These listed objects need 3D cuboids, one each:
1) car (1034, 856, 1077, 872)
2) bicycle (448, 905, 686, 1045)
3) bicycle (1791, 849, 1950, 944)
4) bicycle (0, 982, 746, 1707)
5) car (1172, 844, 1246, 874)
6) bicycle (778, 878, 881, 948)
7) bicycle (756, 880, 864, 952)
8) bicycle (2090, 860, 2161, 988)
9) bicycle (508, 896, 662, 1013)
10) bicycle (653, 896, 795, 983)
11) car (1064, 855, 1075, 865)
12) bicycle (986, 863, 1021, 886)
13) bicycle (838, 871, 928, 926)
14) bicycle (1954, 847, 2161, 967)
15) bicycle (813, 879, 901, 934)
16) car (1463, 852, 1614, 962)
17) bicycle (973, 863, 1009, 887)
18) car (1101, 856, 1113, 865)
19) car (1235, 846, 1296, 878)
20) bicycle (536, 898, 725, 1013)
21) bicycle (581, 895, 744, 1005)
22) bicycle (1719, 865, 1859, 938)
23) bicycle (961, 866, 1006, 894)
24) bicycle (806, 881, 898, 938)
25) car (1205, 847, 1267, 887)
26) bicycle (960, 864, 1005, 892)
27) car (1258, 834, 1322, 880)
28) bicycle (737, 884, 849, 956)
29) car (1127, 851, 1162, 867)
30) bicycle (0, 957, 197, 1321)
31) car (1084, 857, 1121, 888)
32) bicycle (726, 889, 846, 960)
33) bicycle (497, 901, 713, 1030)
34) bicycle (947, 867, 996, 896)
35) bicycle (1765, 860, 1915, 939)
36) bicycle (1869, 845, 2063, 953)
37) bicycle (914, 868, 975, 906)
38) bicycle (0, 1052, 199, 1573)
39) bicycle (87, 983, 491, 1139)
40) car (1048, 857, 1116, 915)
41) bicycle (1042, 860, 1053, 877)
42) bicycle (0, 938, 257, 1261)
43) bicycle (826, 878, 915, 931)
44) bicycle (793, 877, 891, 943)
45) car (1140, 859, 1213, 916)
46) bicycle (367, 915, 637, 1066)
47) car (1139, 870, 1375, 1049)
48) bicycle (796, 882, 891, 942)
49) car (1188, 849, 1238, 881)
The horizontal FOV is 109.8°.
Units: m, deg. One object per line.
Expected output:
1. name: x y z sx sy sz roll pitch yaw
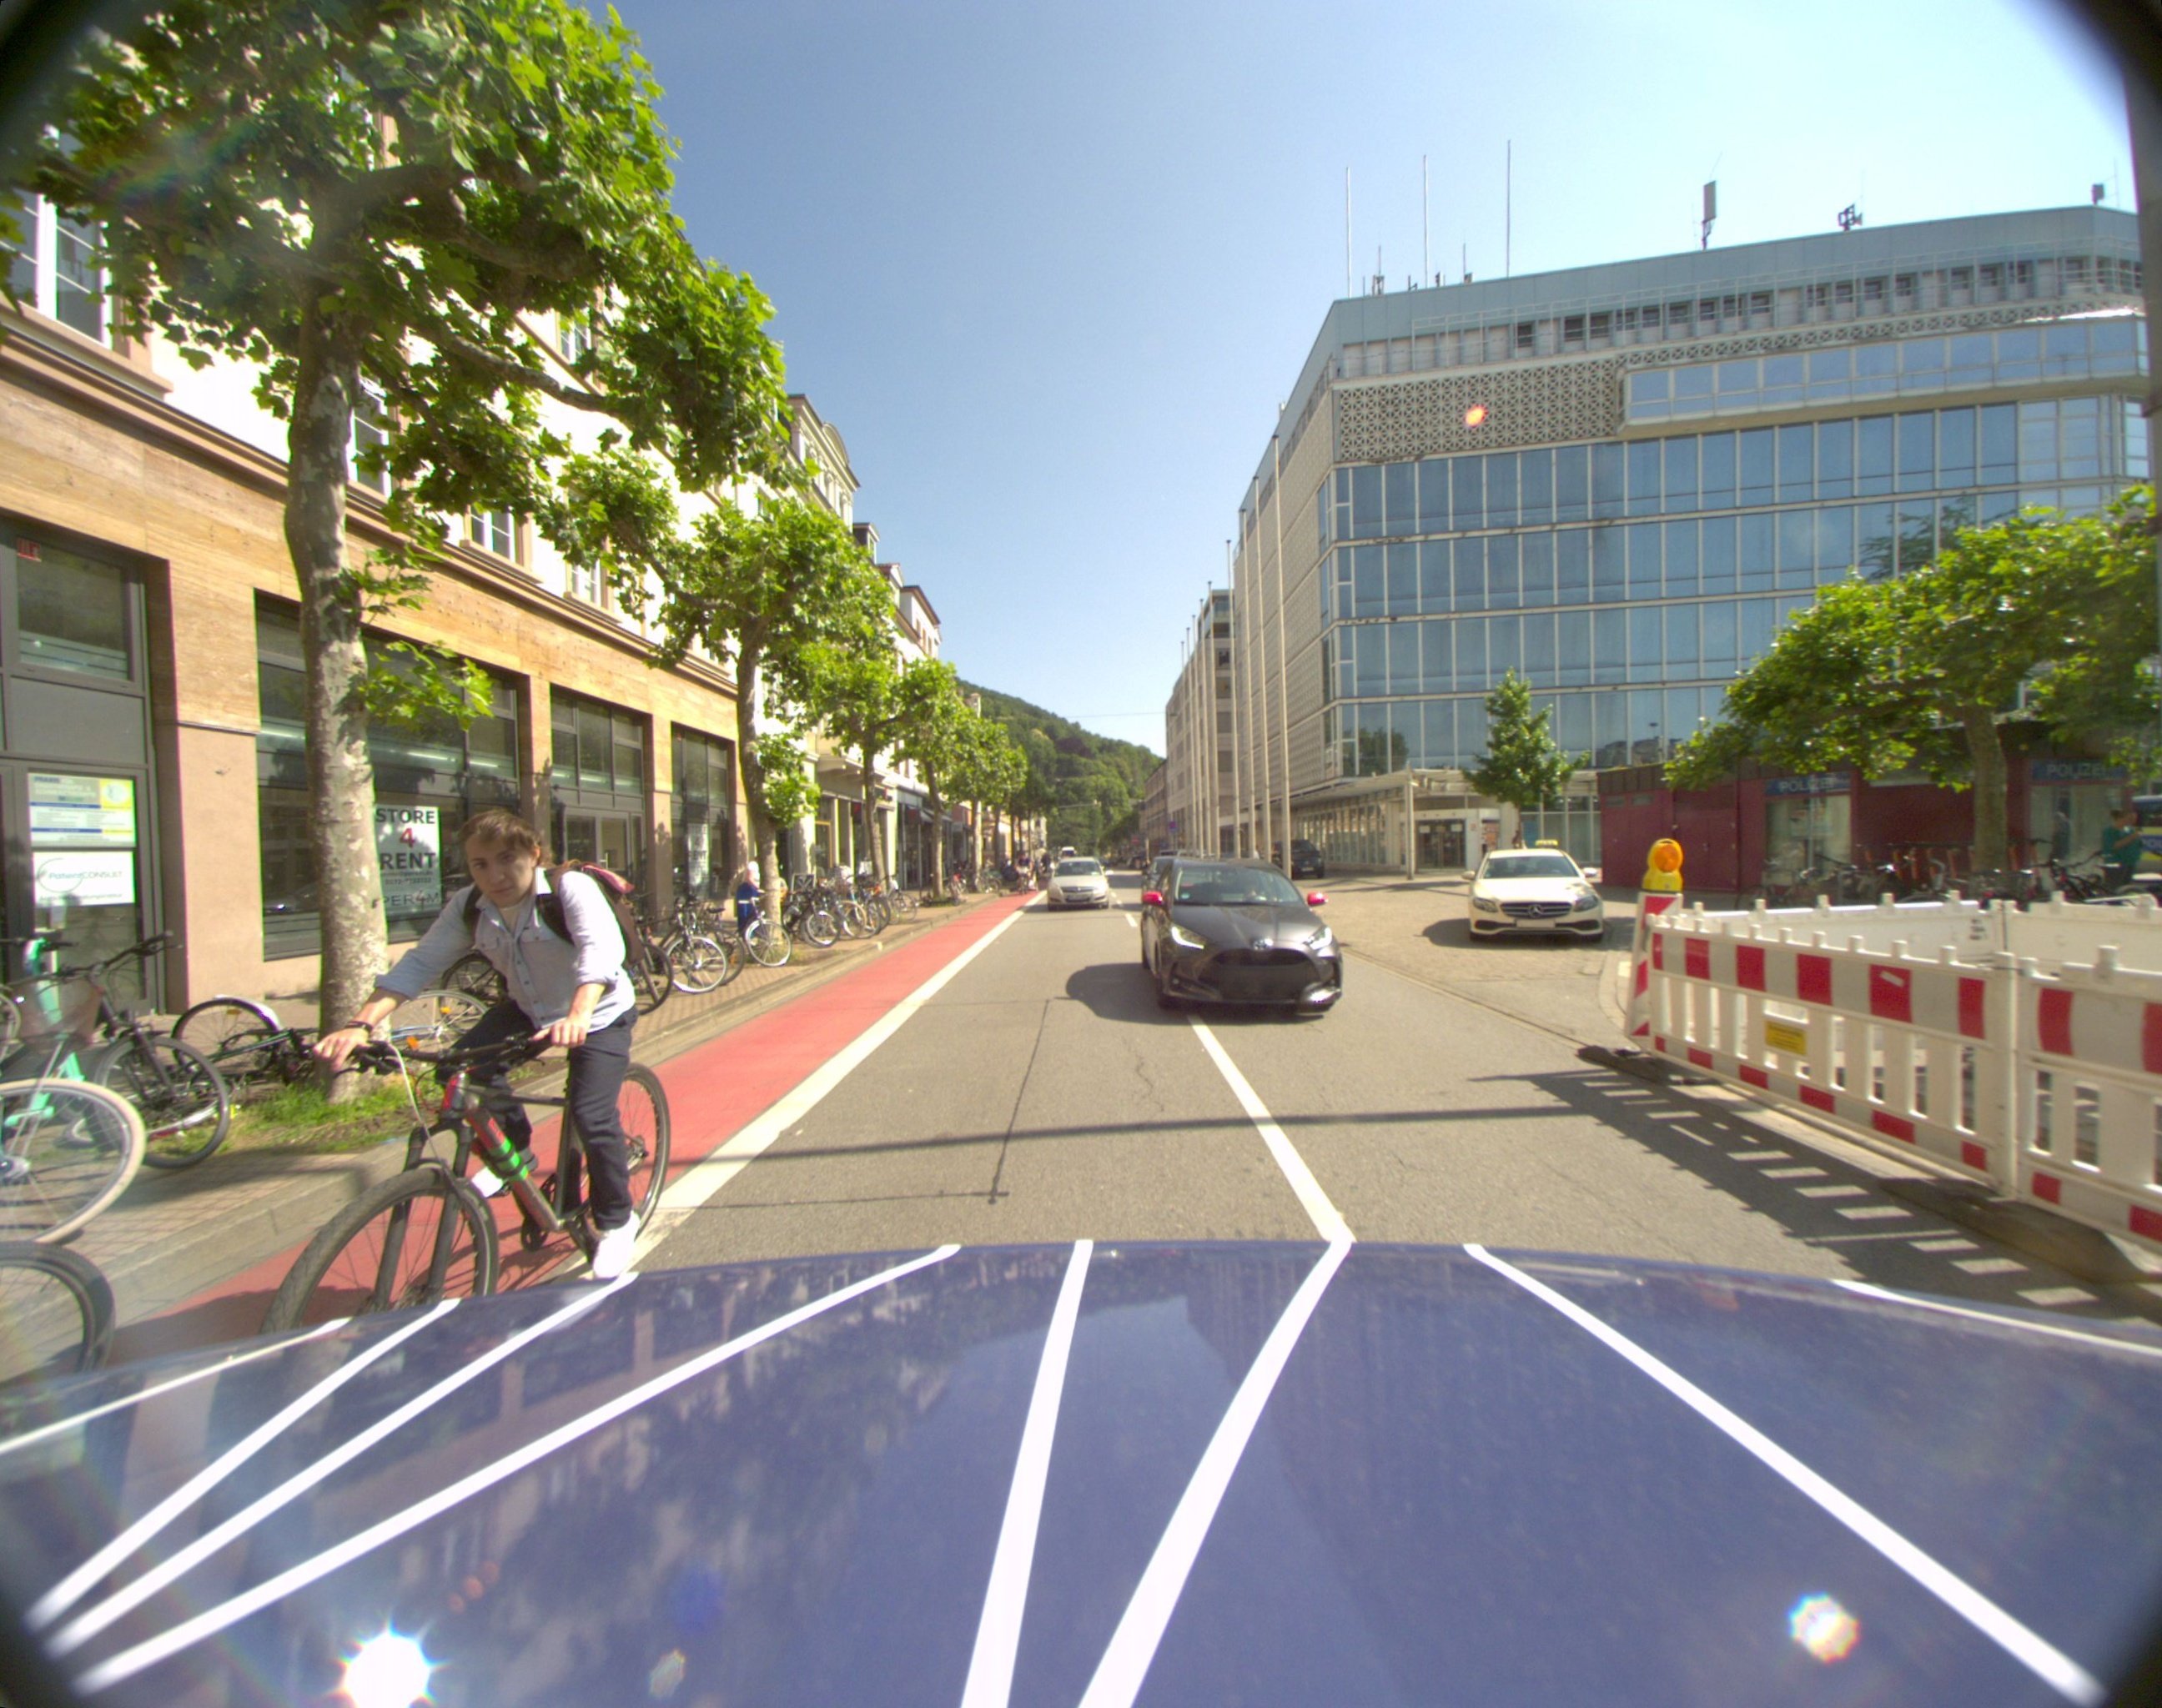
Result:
1. car: -2.779 1.092 82.589 1.953 1.416 4.895 -3 0 37
2. bicycle: -4.881 1.134 7.270 1.848 1.194 0.608 -2 1 3
3. bicycle: 11.612 0.603 11.197 1.786 1.301 0.562 -2 1 -2
4. bicycle: -1.874 1.168 2.438 0.700 1.120 2.081 -3 0 -3
5. car: 8.664 0.368 51.634 4.434 1.898 2.014 -2 0 37
6. bicycle: -4.692 1.098 14.215 1.732 1.210 0.477 -2 1 3
7. bicycle: -4.885 1.110 13.727 1.732 1.210 0.477 -2 1 3
8. bicycle: 11.391 0.667 7.591 1.786 1.208 0.663 -2 1 -2
9. bicycle: -5.934 1.162 9.206 0.473 1.181 1.656 -2 0 13
10. bicycle: -4.917 1.173 10.519 1.653 1.088 0.607 -2 1 3
11. car: -2.041 1.061 131.855 1.799 1.515 4.262 -5 1 -2
12. bicycle: -4.346 1.133 42.421 1.845 1.120 0.497 -4 -1 -7
13. bicycle: -4.804 1.070 18.470 1.936 1.241 0.736 -2 1 3
14. bicycle: 11.566 0.599 8.976 1.786 1.301 0.663 -2 1 -2
15. bicycle: -4.748 1.112 16.136 1.732 1.102 0.402 -2 1 3
16. car: 7.948 0.785 13.503 1.892 1.532 4.870 -2 0 28
17. bicycle: -4.846 1.137 40.762 1.783 1.190 0.576 -2 1 -27
18. car: 4.130 1.034 121.889 1.734 1.389 4.106 -2 0 1
19. car: 10.166 0.408 42.265 1.999 1.601 4.398 -3 0 -4
20. bicycle: -5.066 1.131 8.584 1.848 1.194 0.474 -2 1 3
21. bicycle: -4.932 1.124 8.996 1.653 1.194 0.474 -2 1 3
22. bicycle: 11.591 0.760 12.459 1.786 1.099 0.562 -2 1 -2
23. bicycle: -4.284 1.122 33.328 1.843 1.120 0.498 -3 1 12
24. bicycle: -4.728 1.142 15.721 1.732 1.102 0.402 -2 1 3
25. car: 6.924 0.549 34.355 1.765 1.590 4.709 -2 0 0
26. bicycle: -4.438 1.082 34.395 1.843 1.190 0.674 -2 1 8
27. car: 9.967 0.148 36.641 1.836 2.002 4.685 -2 0 1
28. bicycle: -5.000 1.143 13.243 1.732 1.155 0.477 -2 1 3
29. car: 8.087 0.642 96.503 4.165 1.627 2.103 -5 0 9
30. bicycle: -4.910 1.125 2.856 1.940 1.250 0.704 -2 1 -19
31. car: 1.041 0.934 38.915 1.775 1.469 4.107 -1 -1 0
32. bicycle: -4.922 1.173 12.732 1.732 1.088 0.607 -2 1 3
33. bicycle: -4.838 1.125 7.775 1.848 1.194 0.545 -2 1 3
34. bicycle: -4.559 1.147 31.676 1.844 1.090 0.794 -2 1 6
35. bicycle: 11.735 0.688 11.767 1.786 1.125 0.562 -2 1 -2
36. bicycle: 11.509 0.564 9.909 1.786 1.301 0.663 -2 1 -2
37. bicycle: -4.587 1.108 25.567 1.844 1.179 0.670 -3 1 6
38. bicycle: -2.891 1.152 1.140 0.700 1.120 2.081 -3 0 -3
39. bicycle: -5.428 1.400 5.367 1.851 0.711 0.658 -2 1 -20
40. car: -0.045 0.859 22.489 1.791 1.483 4.367 -1 0 -2
41. bicycle: -2.337 0.997 52.666 0.607 1.120 1.860 0 0 2
42. bicycle: -5.212 1.125 3.458 1.828 1.301 0.688 -2 1 -19
43. bicycle: -4.686 1.117 16.987 1.732 1.102 0.736 -2 1 3
44. bicycle: -4.691 1.085 14.940 1.732 1.210 0.477 -2 1 3
45. car: 2.637 0.890 21.784 1.733 1.389 4.107 -1 0 3
46. bicycle: -5.007 1.164 6.641 1.848 1.157 0.659 -2 1 3
47. car: 1.668 0.950 8.593 1.868 1.469 4.108 1 -1 3
48. bicycle: -4.768 1.161 15.303 1.732 1.102 0.477 -2 1 3
49. car: 6.885 0.567 40.154 1.803 1.514 4.739 -3 0 1
